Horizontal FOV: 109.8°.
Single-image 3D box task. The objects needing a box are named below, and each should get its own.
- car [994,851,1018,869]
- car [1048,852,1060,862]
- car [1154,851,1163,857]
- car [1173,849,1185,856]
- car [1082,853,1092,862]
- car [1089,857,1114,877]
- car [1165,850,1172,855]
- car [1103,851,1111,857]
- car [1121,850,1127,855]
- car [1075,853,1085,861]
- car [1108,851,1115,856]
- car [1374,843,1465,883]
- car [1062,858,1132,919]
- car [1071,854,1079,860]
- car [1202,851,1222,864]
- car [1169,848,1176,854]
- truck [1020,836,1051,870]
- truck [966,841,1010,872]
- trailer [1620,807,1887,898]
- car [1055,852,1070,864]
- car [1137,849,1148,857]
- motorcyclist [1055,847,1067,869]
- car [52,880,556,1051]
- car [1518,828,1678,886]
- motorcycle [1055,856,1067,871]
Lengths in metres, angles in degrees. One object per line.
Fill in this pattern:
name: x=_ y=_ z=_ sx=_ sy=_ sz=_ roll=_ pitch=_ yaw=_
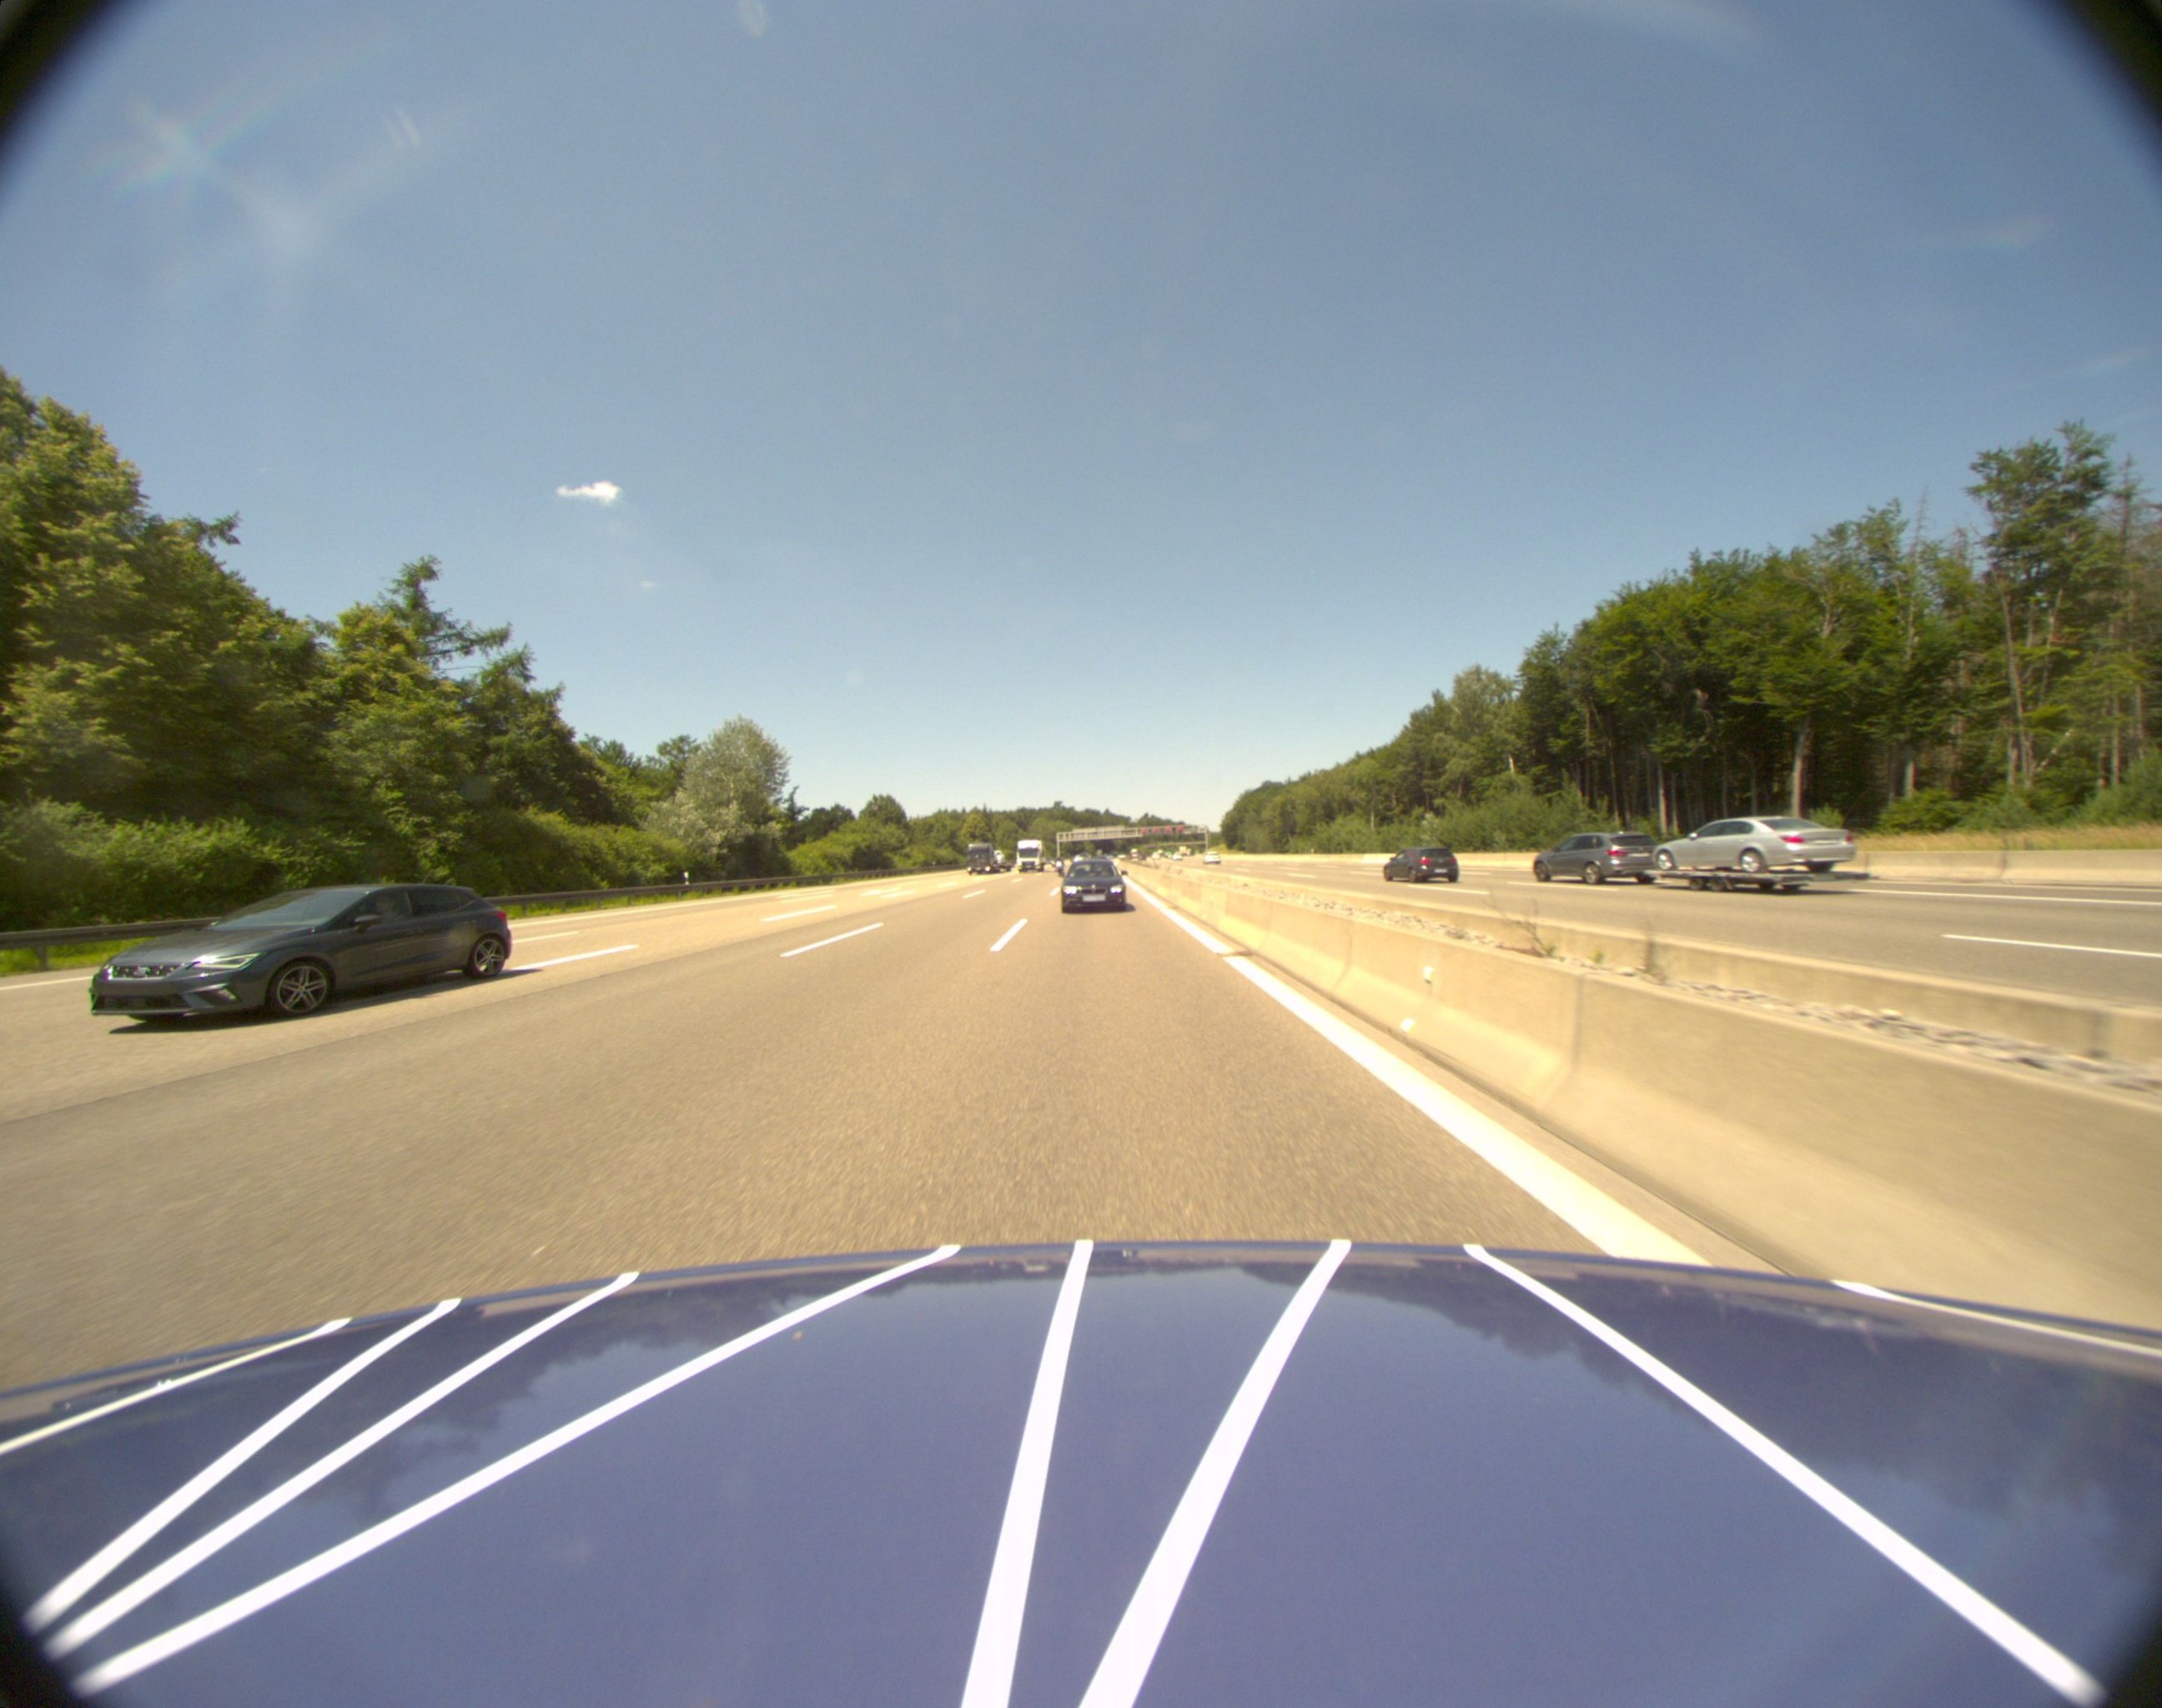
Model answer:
car: x=-8.564 y=0.629 z=87.110 sx=1.998 sy=1.885 sz=4.870 roll=-2 pitch=1 yaw=3
car: x=-5.128 y=0.568 z=143.982 sx=1.998 sy=1.671 sz=4.127 roll=-2 pitch=1 yaw=2
car: x=18.874 y=0.052 z=185.223 sx=1.764 sy=1.346 sz=4.000 roll=-2 pitch=1 yaw=2
car: x=19.517 y=-0.313 z=151.481 sx=1.998 sy=1.392 sz=3.868 roll=-2 pitch=1 yaw=4
car: x=1.229 y=0.613 z=154.472 sx=1.998 sy=1.671 sz=4.127 roll=-2 pitch=1 yaw=2
car: x=1.671 y=1.071 z=63.170 sx=1.834 sy=1.454 sz=4.203 roll=-2 pitch=1 yaw=0
car: x=24.938 y=-0.324 z=217.385 sx=1.649 sy=1.346 sz=4.000 roll=-2 pitch=1 yaw=2
car: x=7.530 y=-0.055 z=219.668 sx=1.910 sy=1.450 sz=4.127 roll=-2 pitch=1 yaw=4
car: x=14.075 y=-0.570 z=249.413 sx=1.910 sy=1.450 sz=4.128 roll=-2 pitch=1 yaw=5
car: x=-0.286 y=0.579 z=166.972 sx=1.998 sy=1.671 sz=4.127 roll=-2 pitch=1 yaw=2
car: x=9.626 y=-0.301 z=239.285 sx=1.910 sy=1.450 sz=4.128 roll=-2 pitch=1 yaw=4
car: x=13.820 y=0.342 z=31.319 sx=1.734 sy=1.455 sz=4.576 roll=-2 pitch=0 yaw=1
car: x=0.439 y=0.904 z=21.706 sx=1.741 sy=1.450 sz=4.542 roll=-2 pitch=0 yaw=1
car: x=-1.379 y=0.688 z=182.676 sx=1.649 sy=1.346 sz=4.001 roll=-2 pitch=0 yaw=3
car: x=16.148 y=0.430 z=93.901 sx=1.734 sy=1.455 sz=4.783 roll=-2 pitch=0 yaw=1
car: x=23.487 y=-0.738 z=195.126 sx=1.649 sy=1.346 sz=2.908 roll=-2 pitch=1 yaw=2
truck: x=-4.719 y=-0.119 z=79.764 sx=2.428 sy=3.237 sz=8.689 roll=-2 pitch=1 yaw=1
truck: x=-9.287 y=0.217 z=77.115 sx=2.660 sy=2.839 sz=10.885 roll=-2 pitch=0 yaw=2
trailer: x=17.774 y=-0.041 z=20.694 sx=1.859 sy=2.039 sz=6.152 roll=-2 pitch=0 yaw=1
car: x=-2.718 y=0.658 z=115.326 sx=1.998 sy=1.671 sz=4.127 roll=-2 pitch=1 yaw=2
car: x=13.481 y=-0.135 z=166.137 sx=1.998 sy=1.636 sz=4.000 roll=-2 pitch=1 yaw=2
motorcyclist: x=-1.778 y=0.330 z=68.194 sx=0.914 sy=1.926 sz=0.905 roll=-3 pitch=1 yaw=0
car: x=-9.407 y=1.207 z=9.945 sx=1.647 sy=1.430 sz=4.635 roll=-2 pitch=1 yaw=2
car: x=17.836 y=0.088 z=26.631 sx=1.818 sy=1.748 sz=5.582 roll=-2 pitch=0 yaw=1
motorcycle: x=-1.758 y=0.839 z=68.396 sx=0.925 sy=1.310 sz=2.997 roll=-3 pitch=0 yaw=0
